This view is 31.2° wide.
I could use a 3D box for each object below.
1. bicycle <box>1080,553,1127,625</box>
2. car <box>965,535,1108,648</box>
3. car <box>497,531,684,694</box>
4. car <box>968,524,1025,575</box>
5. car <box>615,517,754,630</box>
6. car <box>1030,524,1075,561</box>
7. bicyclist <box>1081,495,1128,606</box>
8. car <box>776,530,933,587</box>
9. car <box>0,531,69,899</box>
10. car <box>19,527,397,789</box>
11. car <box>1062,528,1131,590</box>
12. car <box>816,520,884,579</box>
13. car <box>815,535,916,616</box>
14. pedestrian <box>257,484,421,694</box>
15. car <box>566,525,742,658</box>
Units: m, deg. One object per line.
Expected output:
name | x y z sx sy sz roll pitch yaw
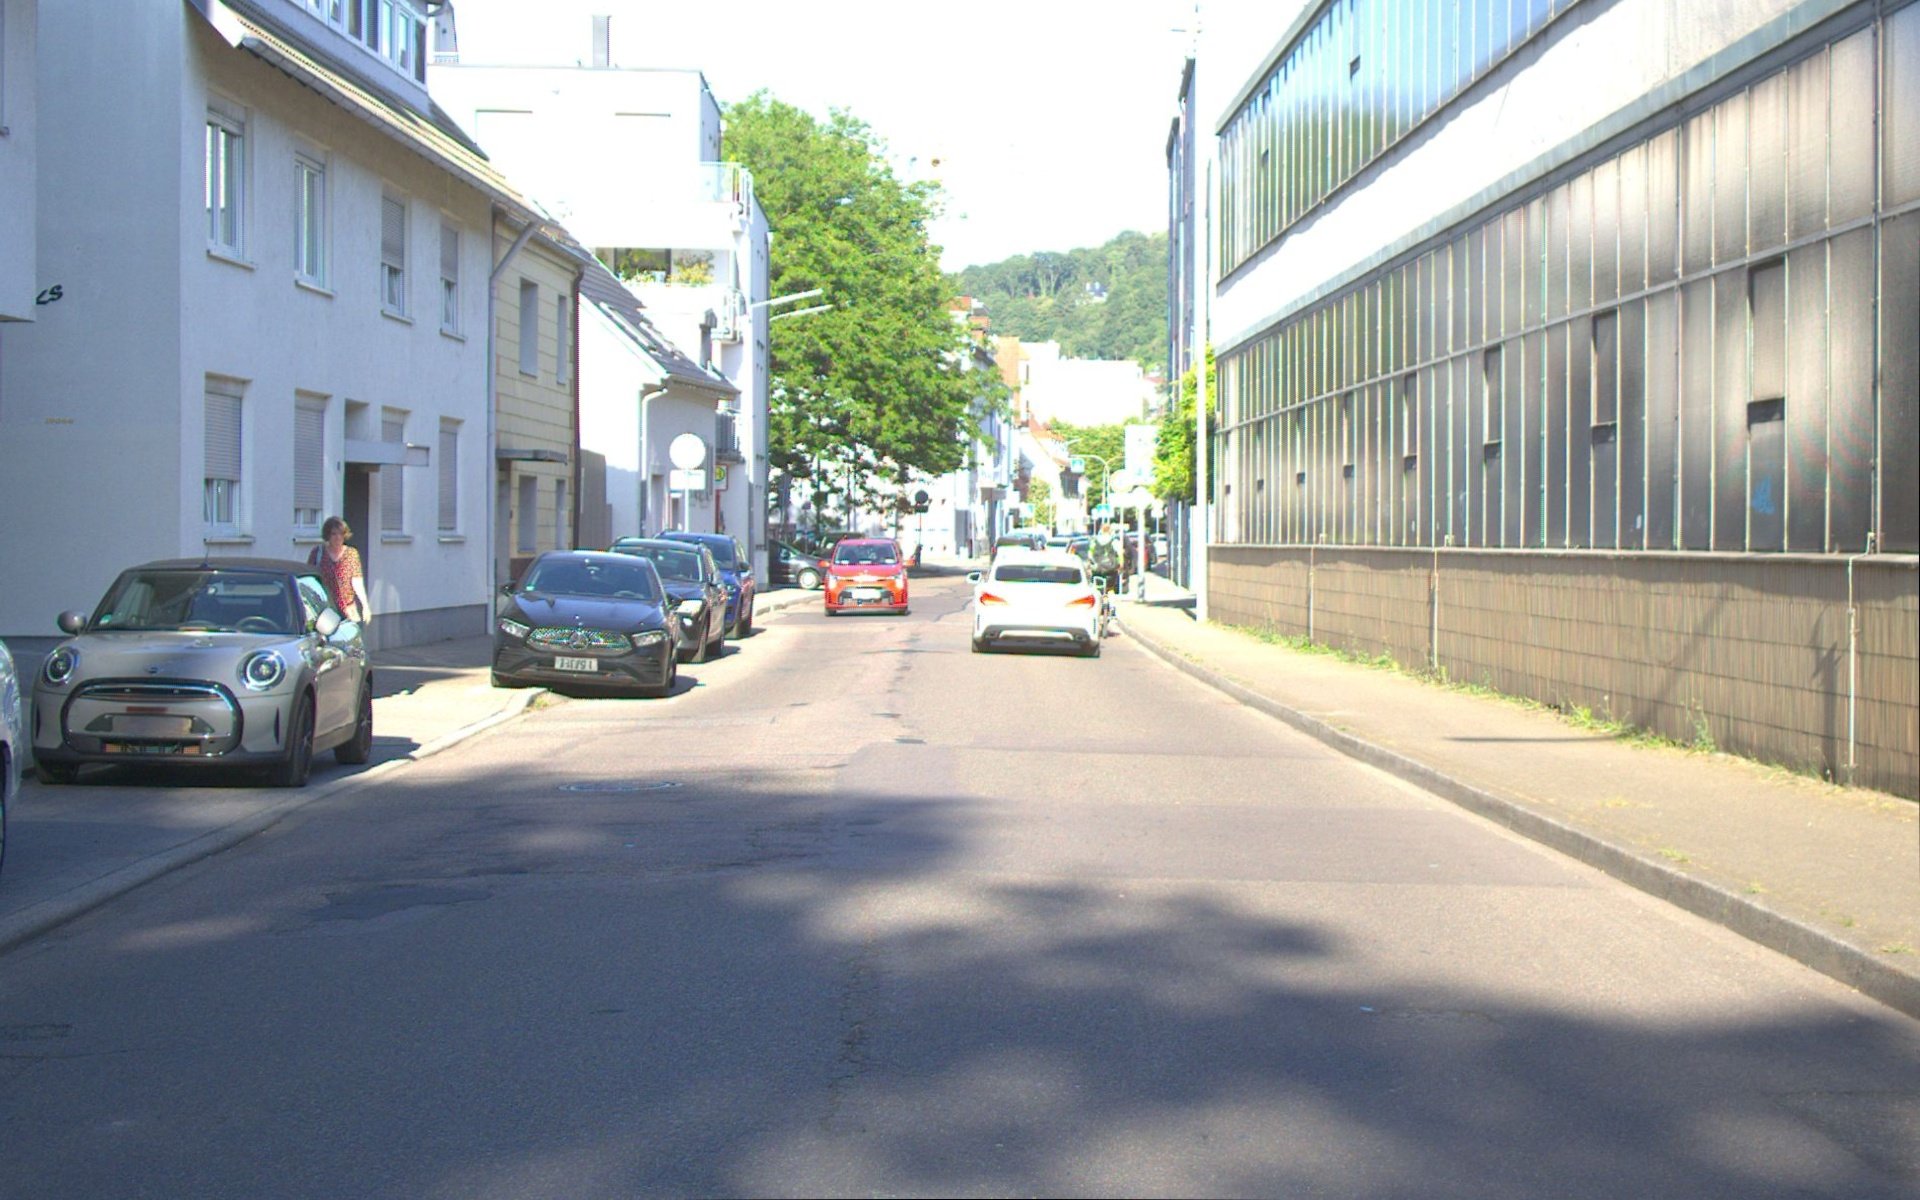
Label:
bicycle | 2.336 -0.182 56.096 0.698 1.126 2.403 2 1 1
car | 1.035 -0.136 48.550 1.842 1.486 4.144 2 1 -1
car | -3.811 0.100 35.984 1.684 1.530 4.335 3 1 -4
car | 1.334 -1.866 125.889 1.853 1.785 4.608 1 1 -2
car | -4.343 -0.452 54.734 1.809 1.581 4.193 3 2 0
car | 3.978 -2.458 147.063 1.842 1.486 4.144 2 1 2
bicyclist | 2.355 -0.805 56.150 0.698 1.784 1.041 2 0 1
car | -2.943 -1.158 96.503 4.132 1.486 1.848 2 1 7
car | -4.968 0.472 13.596 1.857 1.581 4.622 3 1 -3
car | -4.918 0.335 22.966 1.667 1.530 3.857 3 1 -1
car | 3.666 -1.116 92.691 1.629 1.581 4.069 -2 1 0
car | -3.484 -1.634 109.888 1.853 1.785 4.607 2 1 2
car | -1.821 -0.479 67.079 1.842 1.486 4.144 2 1 0
pedestrian | -5.642 -0.101 31.274 0.862 1.812 1.130 5 2 24
car | -4.060 -0.157 46.253 1.858 1.581 4.336 3 2 1
